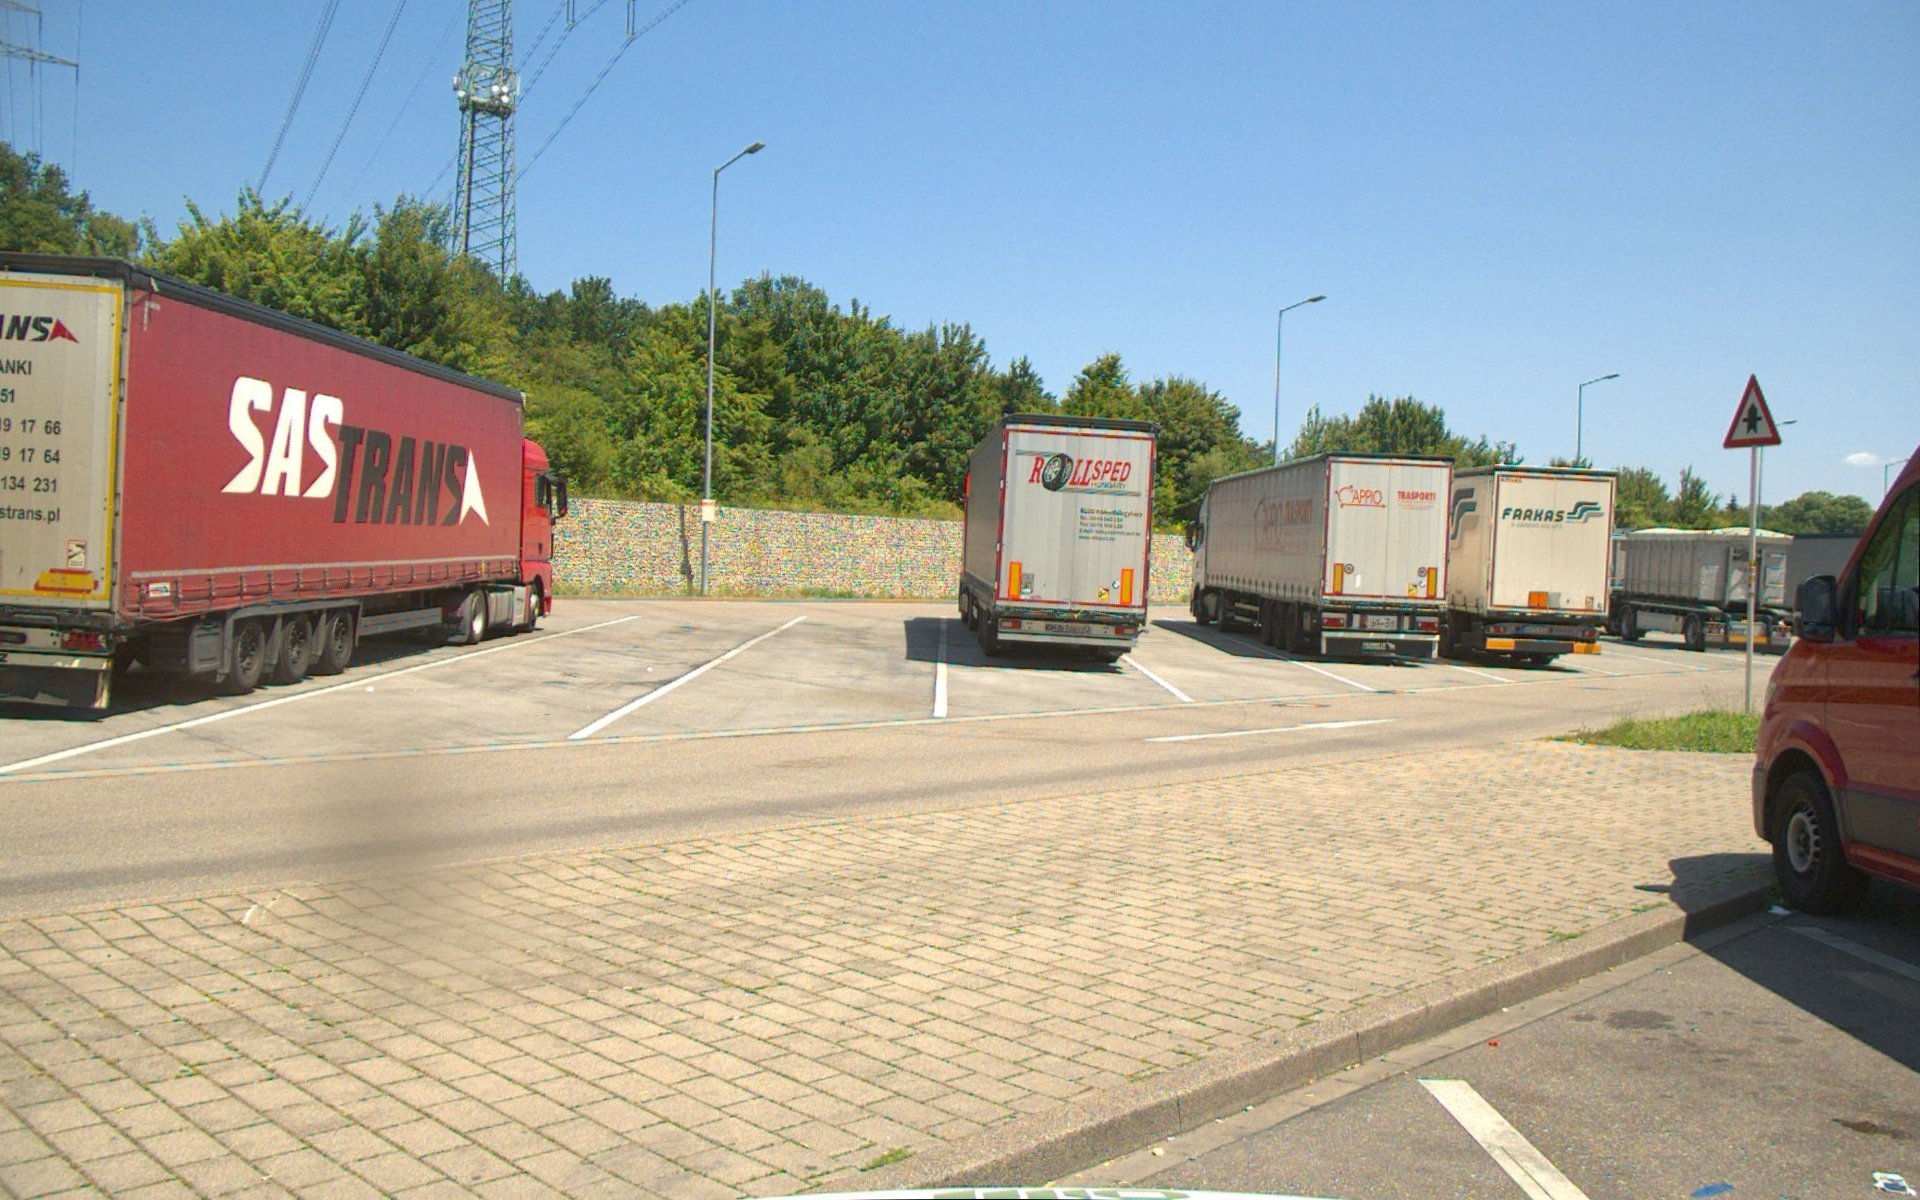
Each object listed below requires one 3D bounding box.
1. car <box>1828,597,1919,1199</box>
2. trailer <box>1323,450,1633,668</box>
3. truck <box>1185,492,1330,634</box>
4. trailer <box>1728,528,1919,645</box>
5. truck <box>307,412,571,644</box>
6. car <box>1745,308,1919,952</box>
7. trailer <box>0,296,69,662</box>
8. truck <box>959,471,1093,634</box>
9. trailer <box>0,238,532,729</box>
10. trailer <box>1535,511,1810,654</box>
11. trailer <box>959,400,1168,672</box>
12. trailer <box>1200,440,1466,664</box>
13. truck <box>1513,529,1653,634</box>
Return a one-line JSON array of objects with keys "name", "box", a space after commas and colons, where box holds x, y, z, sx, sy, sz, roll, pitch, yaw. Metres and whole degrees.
[{"name": "car", "box": [2.596, 0.798, 1.154, 1.703, 1.508, 3.813, 1, 1, -6]}, {"name": "trailer", "box": [11.766, -1.019, 39.632, 2.781, 4.204, 13.722, 2, 2, -1]}, {"name": "truck", "box": [8.092, -1.040, 45.636, 2.794, 3.544, 5.482, 2, 2, -1]}, {"name": "trailer", "box": [34.935, -0.646, 65.411, 2.780, 4.119, 13.726, 2, 2, 1]}, {"name": "truck", "box": [-8.797, -1.208, 28.620, 2.794, 3.487, 5.482, 2, 2, -1]}, {"name": "car", "box": [5.007, 0.164, 5.558, 2.023, 2.742, 6.397, 1, 1, 4]}, {"name": "trailer", "box": [-12.528, -1.310, 15.701, 2.673, 4.282, 10.170, 2, 2, -1]}, {"name": "truck", "box": [1.478, -1.145, 39.847, 2.794, 3.544, 5.482, 2, 2, -1]}, {"name": "trailer", "box": [-8.683, -1.298, 21.184, 2.848, 4.203, 13.723, 2, 2, -1]}, {"name": "trailer", "box": [21.923, -0.686, 52.207, 2.780, 3.781, 13.726, 3, 2, 1]}, {"name": "trailer", "box": [1.646, -1.232, 33.238, 2.848, 4.204, 13.720, 2, 2, -1]}, {"name": "trailer", "box": [8.206, -1.140, 38.827, 2.781, 4.204, 13.722, 2, 2, -1]}, {"name": "truck", "box": [22.003, -0.717, 58.711, 2.794, 3.423, 5.484, 3, 2, 0]}]
